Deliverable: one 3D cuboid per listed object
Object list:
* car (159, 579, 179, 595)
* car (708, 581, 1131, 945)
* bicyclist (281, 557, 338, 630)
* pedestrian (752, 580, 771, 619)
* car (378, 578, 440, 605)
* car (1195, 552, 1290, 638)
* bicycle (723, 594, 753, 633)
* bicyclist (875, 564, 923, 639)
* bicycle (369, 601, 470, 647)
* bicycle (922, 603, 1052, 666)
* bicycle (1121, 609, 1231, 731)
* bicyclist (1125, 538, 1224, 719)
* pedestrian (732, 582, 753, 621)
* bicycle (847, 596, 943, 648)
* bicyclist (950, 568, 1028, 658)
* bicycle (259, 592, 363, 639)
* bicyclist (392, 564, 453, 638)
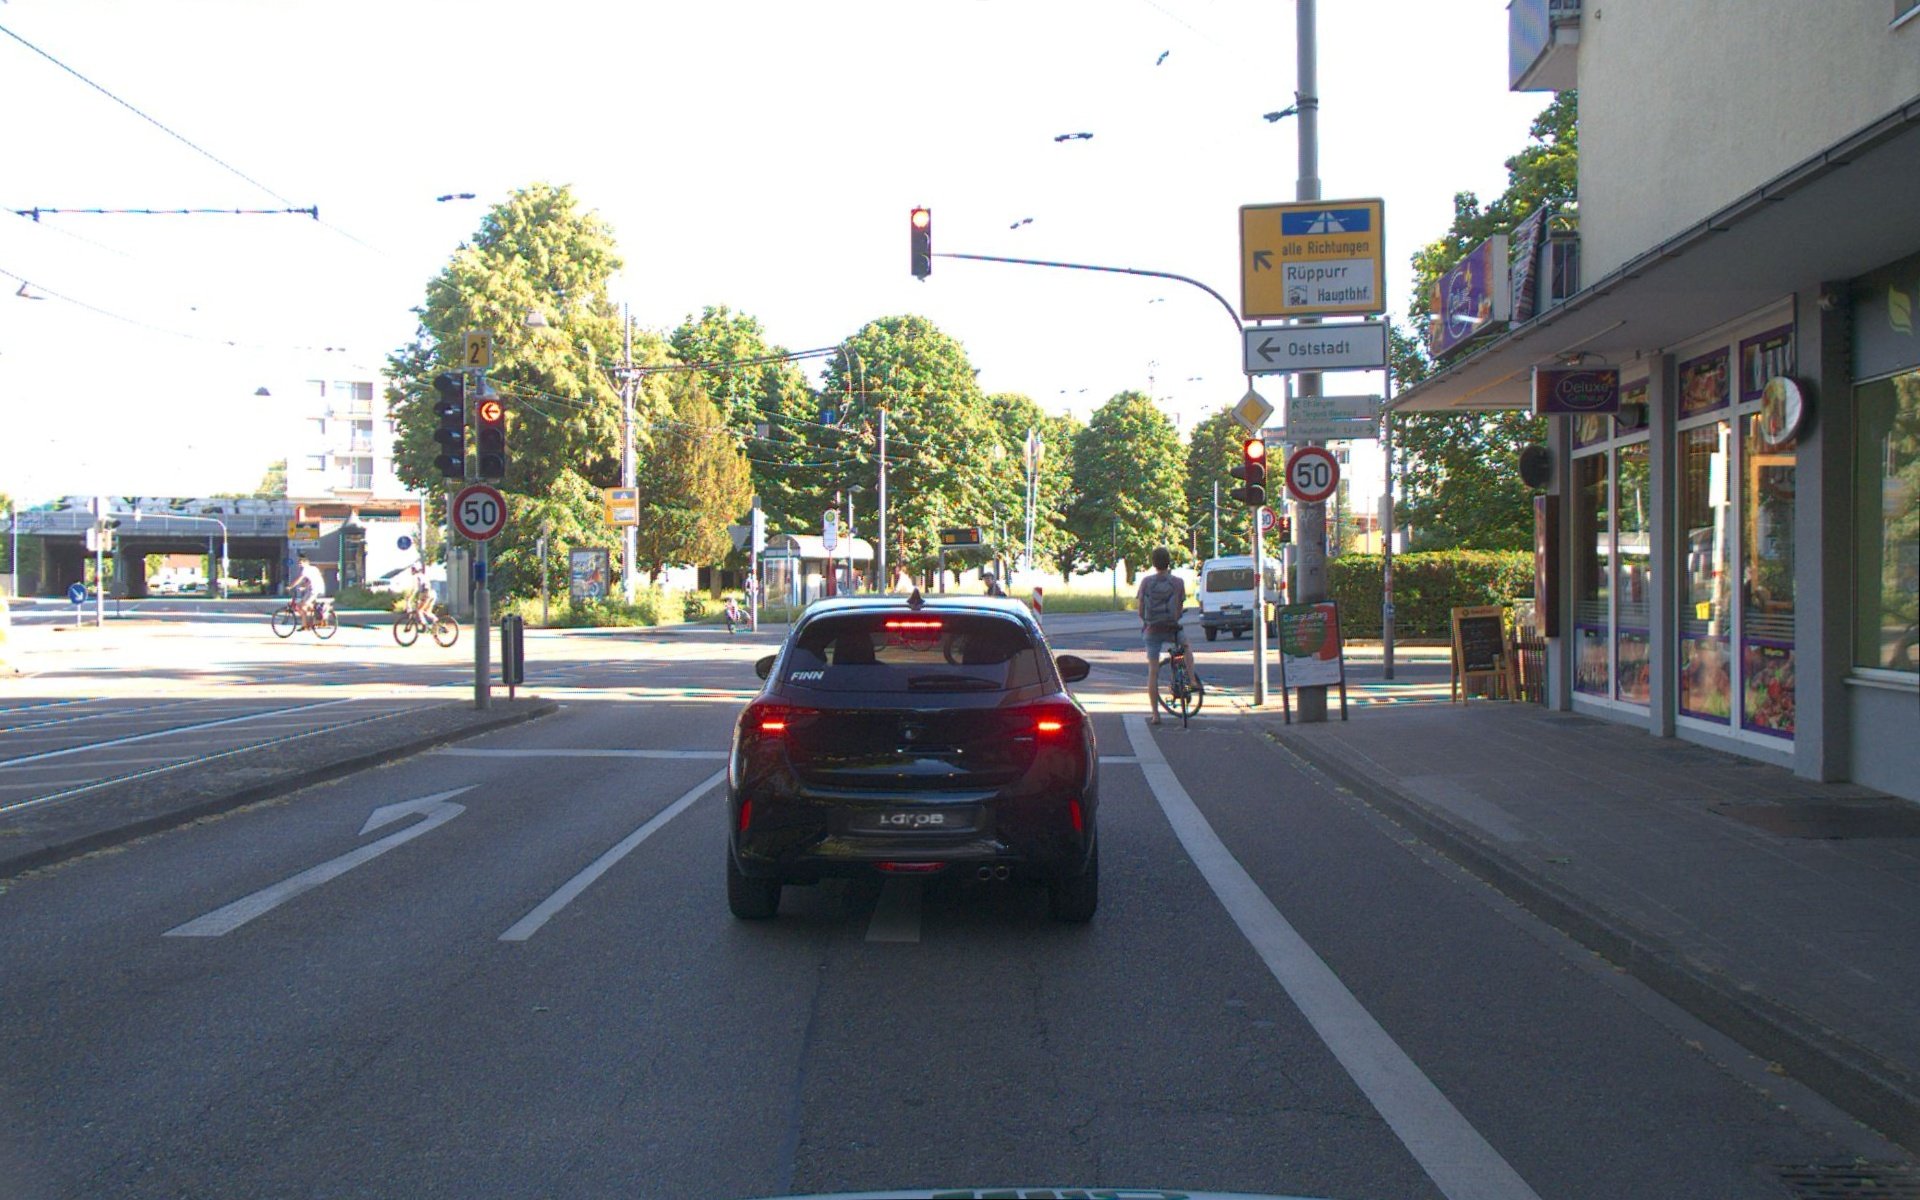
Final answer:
[{"bbox_3d":[-98.180,-1.628,205.342,2.186,1.855,4.112,-1,1,-26],"label":"car"},{"bbox_3d":[-0.183,0.644,8.760,1.692,1.454,4.186,1,0,-1],"label":"car"},{"bbox_3d":[-15.585,-0.153,39.639,0.907,1.737,0.876,0,0,11],"label":"bicyclist"},{"bbox_3d":[-8.544,-0.004,71.223,0.623,1.658,0.572,1,0,6],"label":"pedestrian"},{"bbox_3d":[-39.431,-0.625,118.348,4.116,1.836,1.725,-1,1,-22],"label":"car"},{"bbox_3d":[8.014,-0.162,46.579,2.020,2.288,4.890,0,1,17],"label":"car"},{"bbox_3d":[-6.215,0.378,46.375,0.593,1.049,1.982,0,1,-1],"label":"bicycle"},{"bbox_3d":[-1.333,0.031,36.106,0.843,1.623,0.649,0,0,21],"label":"bicyclist"},{"bbox_3d":[-11.822,0.524,36.193,2.014,1.001,0.673,0,0,10],"label":"bicycle"},{"bbox_3d":[0.485,0.597,29.294,2.162,1.051,0.828,-1,0,-24],"label":"bicycle"},{"bbox_3d":[2.283,0.707,17.719,0.842,1.173,2.171,-1,1,-1],"label":"bicycle"},{"bbox_3d":[2.285,0.295,17.715,0.922,1.883,0.864,-1,0,-1],"label":"bicyclist"},{"bbox_3d":[-9.341,0.059,71.077,0.735,1.658,0.598,1,0,6],"label":"pedestrian"},{"bbox_3d":[-1.421,0.474,36.145,2.012,1.113,0.592,0,0,21],"label":"bicycle"},{"bbox_3d":[0.512,0.221,29.270,1.098,1.547,0.915,-1,0,-24],"label":"bicyclist"},{"bbox_3d":[-15.548,0.367,39.622,2.244,1.103,0.801,0,0,12],"label":"bicycle"},{"bbox_3d":[-11.748,0.026,36.169,0.988,1.598,0.800,0,0,10],"label":"bicyclist"}]
